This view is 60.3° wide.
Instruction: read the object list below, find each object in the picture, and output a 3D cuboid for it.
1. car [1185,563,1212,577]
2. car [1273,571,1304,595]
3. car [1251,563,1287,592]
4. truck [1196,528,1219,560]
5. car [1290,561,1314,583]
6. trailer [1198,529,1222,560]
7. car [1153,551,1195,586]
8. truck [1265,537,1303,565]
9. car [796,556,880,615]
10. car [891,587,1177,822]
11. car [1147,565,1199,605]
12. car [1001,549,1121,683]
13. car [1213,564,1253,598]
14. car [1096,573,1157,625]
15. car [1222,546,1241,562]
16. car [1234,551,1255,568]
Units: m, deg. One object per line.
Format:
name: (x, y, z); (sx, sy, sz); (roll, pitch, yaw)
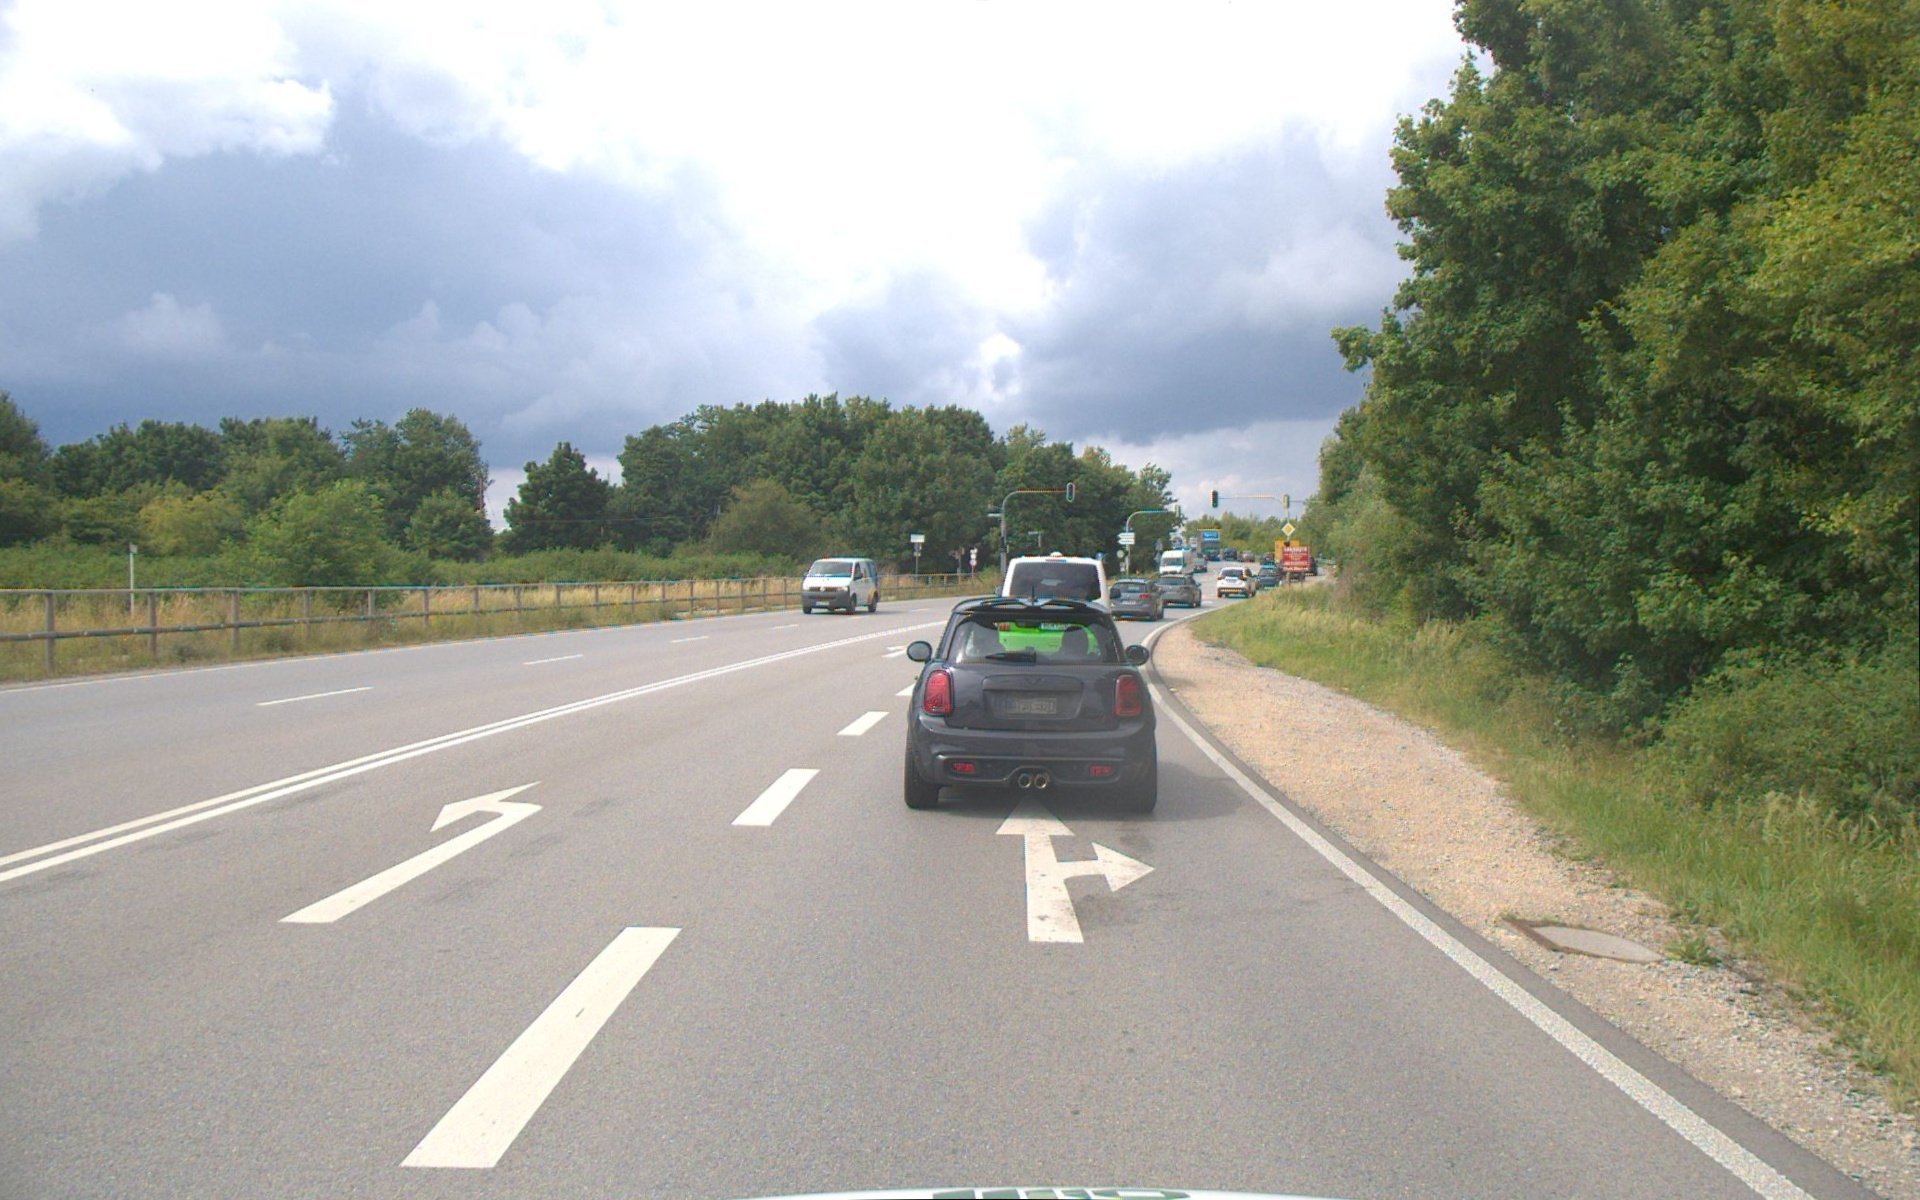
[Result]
car: (25.251, -3.139, 175.086); (1.906, 1.466, 4.000); (1, 1, 22)
car: (24.843, -1.314, 125.026); (1.951, 1.725, 4.489); (1, 1, 15)
car: (20.157, -1.464, 107.752); (1.951, 1.713, 4.003); (2, 0, 15)
truck: (32.950, -7.399, 220.171); (2.486, 4.167, 4.003); (1, 1, 15)
car: (29.381, -2.402, 142.094); (1.951, 1.725, 4.489); (2, 1, 12)
trailer: (33.792, -7.468, 223.499); (2.473, 4.172, 6.741); (1, 1, 14)
car: (17.535, -2.571, 135.318); (2.382, 2.721, 6.893); (1, 1, 16)
truck: (35.366, -5.287, 180.917); (2.660, 2.948, 8.774); (0, 1, 2)
car: (-4.383, -0.536, 60.193); (1.951, 2.049, 4.671); (1, 1, 10)
car: (0.549, 0.654, 12.516); (1.806, 1.453, 3.842); (1, 1, 2)
car: (9.677, -0.650, 74.871); (1.951, 1.713, 3.980); (2, 0, 12)
car: (1.624, 0.234, 27.291); (1.806, 2.021, 3.842); (1, 0, 2)
car: (15.212, -1.031, 91.957); (1.951, 1.713, 4.003); (2, 0, 13)
car: (5.901, -0.039, 58.892); (1.952, 1.713, 4.002); (2, 0, 3)
car: (38.043, -6.474, 231.966); (1.952, 2.049, 4.000); (1, 0, 1)
car: (36.630, -5.220, 213.062); (2.135, 2.049, 4.001); (1, 0, 2)
